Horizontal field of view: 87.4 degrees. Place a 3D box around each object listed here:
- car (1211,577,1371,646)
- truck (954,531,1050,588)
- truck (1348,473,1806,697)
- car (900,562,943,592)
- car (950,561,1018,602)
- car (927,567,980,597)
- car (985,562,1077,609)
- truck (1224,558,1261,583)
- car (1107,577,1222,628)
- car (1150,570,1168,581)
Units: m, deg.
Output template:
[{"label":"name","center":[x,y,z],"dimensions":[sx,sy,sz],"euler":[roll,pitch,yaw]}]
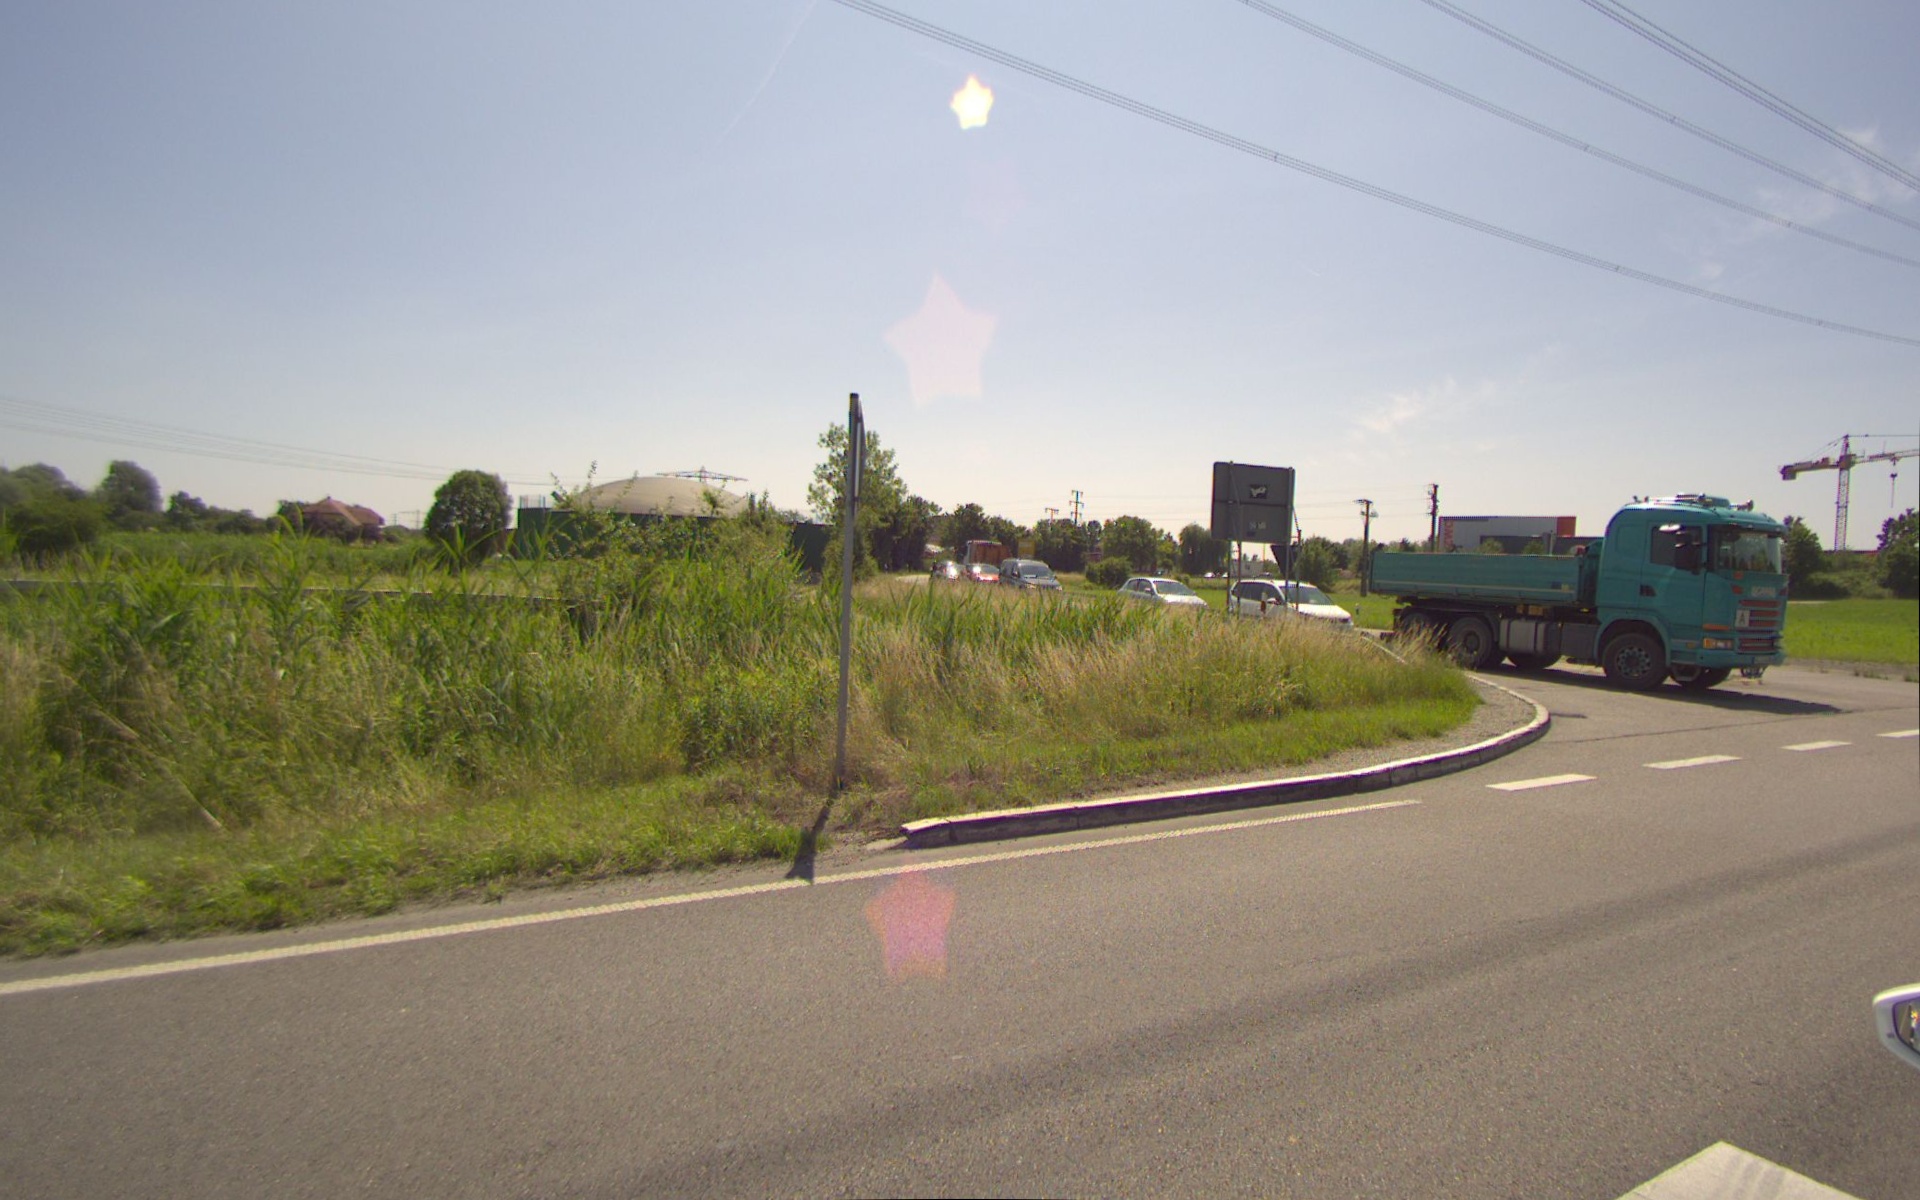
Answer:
[{"label":"car","center":[8.924,0.253,27.523],"dimensions":[1.935,1.634,4.540],"euler":[2,2,-15]},{"label":"truck","center":[2.498,-2.517,64.806],"dimensions":[2.786,3.332,9.656],"euler":[1,1,-20]},{"label":"truck","center":[12.246,-0.432,21.049],"dimensions":[2.466,3.785,7.873],"euler":[1,3,-27]},{"label":"car","center":[-2.424,-1.413,62.141],"dimensions":[1.965,1.691,3.990],"euler":[1,1,-12]},{"label":"car","center":[1.134,-0.965,49.959],"dimensions":[1.886,1.874,4.463],"euler":[1,2,-19]},{"label":"car","center":[-0.401,-1.034,55.699],"dimensions":[1.754,1.498,3.982],"euler":[2,2,-19]},{"label":"car","center":[2.970,-0.681,43.481],"dimensions":[2.057,1.893,4.927],"euler":[0,2,-21]},{"label":"truck","center":[59.464,-6.104,211.198],"dimensions":[3.627,4.708,13.204],"euler":[3,1,33]},{"label":"car","center":[6.671,0.035,33.298],"dimensions":[1.691,1.490,4.427],"euler":[2,1,-19]},{"label":"car","center":[33.985,-4.135,171.559],"dimensions":[1.964,1.702,3.994],"euler":[2,1,28]}]
